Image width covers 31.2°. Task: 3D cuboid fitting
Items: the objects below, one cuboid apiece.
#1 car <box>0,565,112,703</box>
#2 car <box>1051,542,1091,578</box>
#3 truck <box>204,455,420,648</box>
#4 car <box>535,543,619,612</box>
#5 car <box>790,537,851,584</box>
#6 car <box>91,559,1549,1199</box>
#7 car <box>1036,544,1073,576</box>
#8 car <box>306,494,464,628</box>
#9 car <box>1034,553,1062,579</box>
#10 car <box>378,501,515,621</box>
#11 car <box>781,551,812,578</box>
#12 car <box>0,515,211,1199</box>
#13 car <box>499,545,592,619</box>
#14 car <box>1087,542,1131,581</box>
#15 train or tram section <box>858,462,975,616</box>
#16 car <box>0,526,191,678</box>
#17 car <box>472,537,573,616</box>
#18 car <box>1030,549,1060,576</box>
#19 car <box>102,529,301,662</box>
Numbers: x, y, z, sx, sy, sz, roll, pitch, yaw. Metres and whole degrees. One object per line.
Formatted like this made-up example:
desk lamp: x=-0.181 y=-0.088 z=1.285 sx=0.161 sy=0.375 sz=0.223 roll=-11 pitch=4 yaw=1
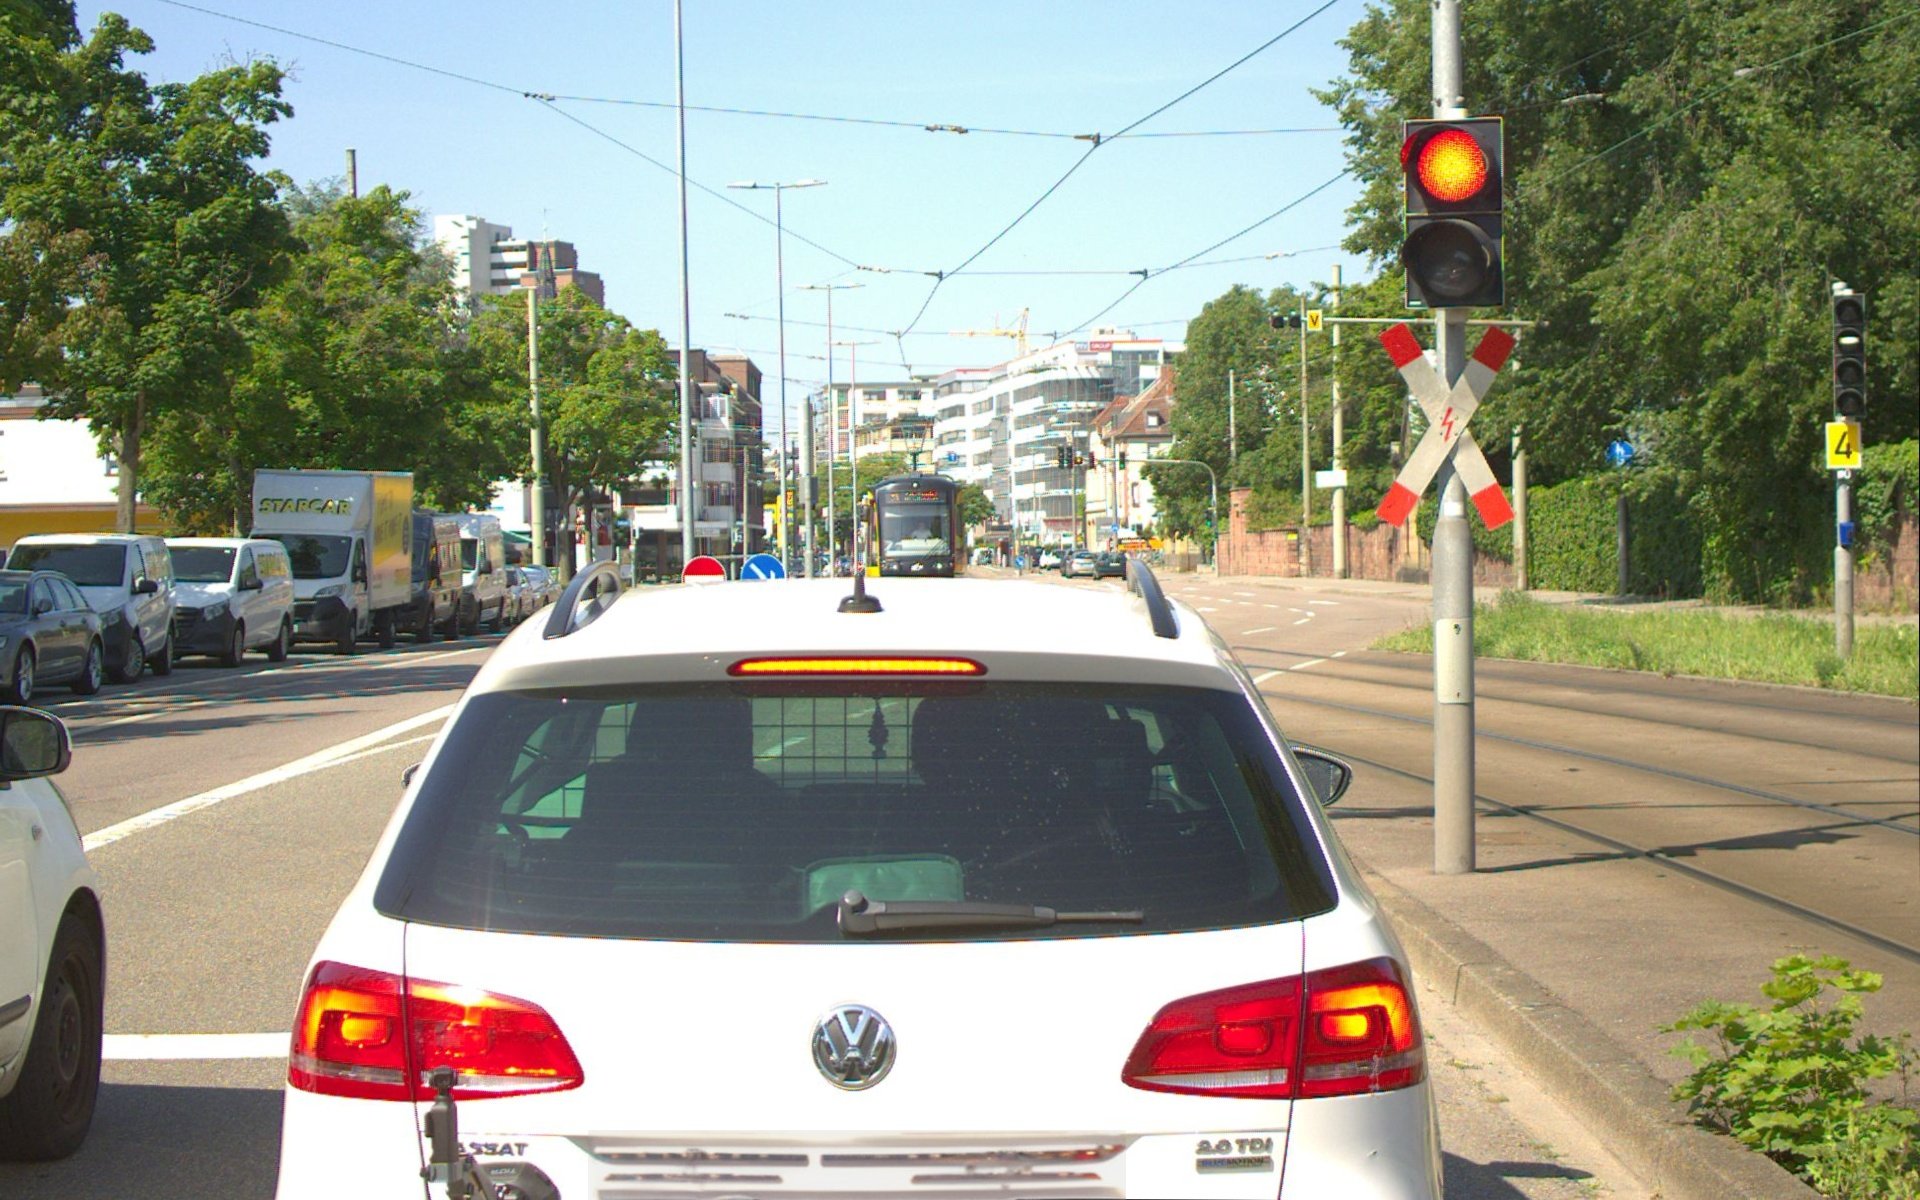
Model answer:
car: x=-10.995 y=0.333 z=38.757 sx=1.863 sy=1.411 sz=4.280 roll=1 pitch=1 yaw=-1
car: x=6.090 y=-2.210 z=188.844 sx=1.863 sy=1.861 sz=5.062 roll=1 pitch=1 yaw=-1
truck: x=-11.261 y=-0.861 z=60.323 sx=2.421 sy=3.139 sz=6.997 roll=1 pitch=1 yaw=0
car: x=-10.944 y=-0.675 z=98.608 sx=1.863 sy=1.861 sz=5.414 roll=1 pitch=1 yaw=-1
car: x=-4.550 y=-1.299 z=112.567 sx=1.705 sy=1.468 sz=4.589 roll=-2 pitch=1 yaw=1
car: x=-0.183 y=0.676 z=6.206 sx=1.762 sy=1.425 sz=4.000 roll=-1 pitch=1 yaw=-1
car: x=5.584 y=-2.391 z=203.933 sx=1.863 sy=1.861 sz=5.062 roll=1 pitch=1 yaw=-1
car: x=-11.359 y=-0.801 z=68.325 sx=2.123 sy=2.508 sz=5.733 roll=1 pitch=1 yaw=0
car: x=6.700 y=-2.594 z=261.378 sx=1.863 sy=1.861 sz=5.062 roll=1 pitch=1 yaw=-1
car: x=-11.257 y=-0.871 z=75.762 sx=2.123 sy=2.508 sz=5.733 roll=1 pitch=1 yaw=0
car: x=-9.375 y=-2.028 z=196.910 sx=1.705 sy=1.468 sz=4.590 roll=-1 pitch=1 yaw=-4
car: x=-2.944 y=0.590 z=7.346 sx=1.662 sy=1.542 sz=4.547 roll=0 pitch=1 yaw=0
car: x=-11.023 y=-0.516 z=91.693 sx=1.863 sy=1.861 sz=5.414 roll=1 pitch=1 yaw=-1
car: x=7.471 y=-1.950 z=172.701 sx=1.863 sy=1.861 sz=5.062 roll=1 pitch=1 yaw=-1
train or tram section: x=-1.184 y=-1.673 z=93.685 sx=2.870 sy=3.842 sz=12.392 roll=-1 pitch=1 yaw=-1
car: x=-11.405 y=-0.022 z=45.326 sx=1.863 sy=1.861 sz=5.075 roll=1 pitch=1 yaw=-6
car: x=-10.770 y=-0.606 z=84.875 sx=1.863 sy=1.861 sz=5.414 roll=1 pitch=1 yaw=-1
car: x=5.990 y=-2.688 z=243.410 sx=1.863 sy=1.861 sz=5.062 roll=1 pitch=1 yaw=-1
car: x=-11.370 y=-0.117 z=51.909 sx=1.863 sy=1.861 sz=5.414 roll=1 pitch=1 yaw=-1
